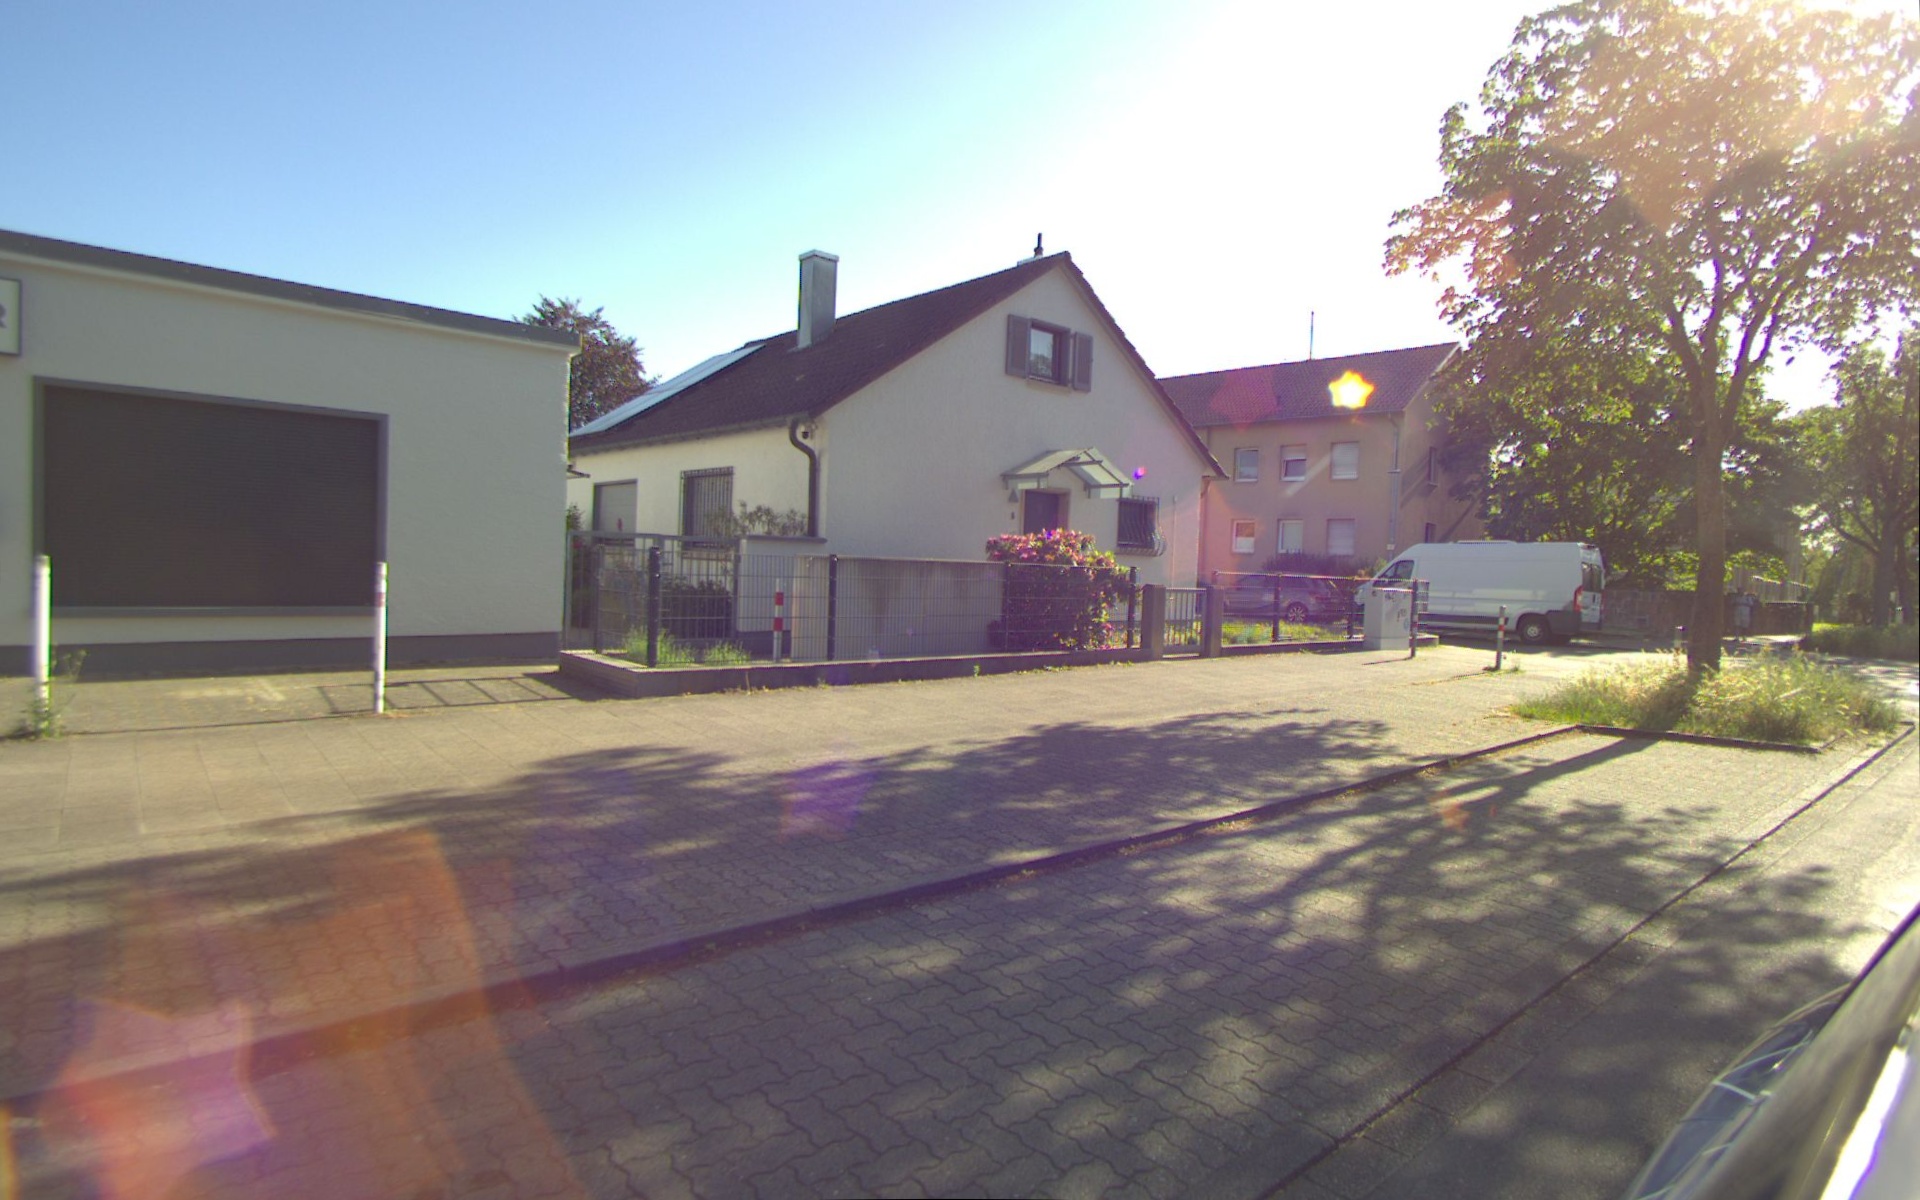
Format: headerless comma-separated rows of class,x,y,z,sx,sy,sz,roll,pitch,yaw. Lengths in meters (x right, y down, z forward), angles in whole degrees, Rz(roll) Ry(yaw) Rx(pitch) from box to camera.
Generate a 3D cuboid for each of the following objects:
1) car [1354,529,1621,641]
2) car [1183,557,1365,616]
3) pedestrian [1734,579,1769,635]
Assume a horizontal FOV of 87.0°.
car,13.407,-0.482,26.042,2.228,2.570,5.601,1,2,-44
car,9.385,-0.416,30.520,2.247,1.601,4.745,2,0,-44
pedestrian,25.197,0.214,32.229,0.601,1.726,0.638,2,3,-42
